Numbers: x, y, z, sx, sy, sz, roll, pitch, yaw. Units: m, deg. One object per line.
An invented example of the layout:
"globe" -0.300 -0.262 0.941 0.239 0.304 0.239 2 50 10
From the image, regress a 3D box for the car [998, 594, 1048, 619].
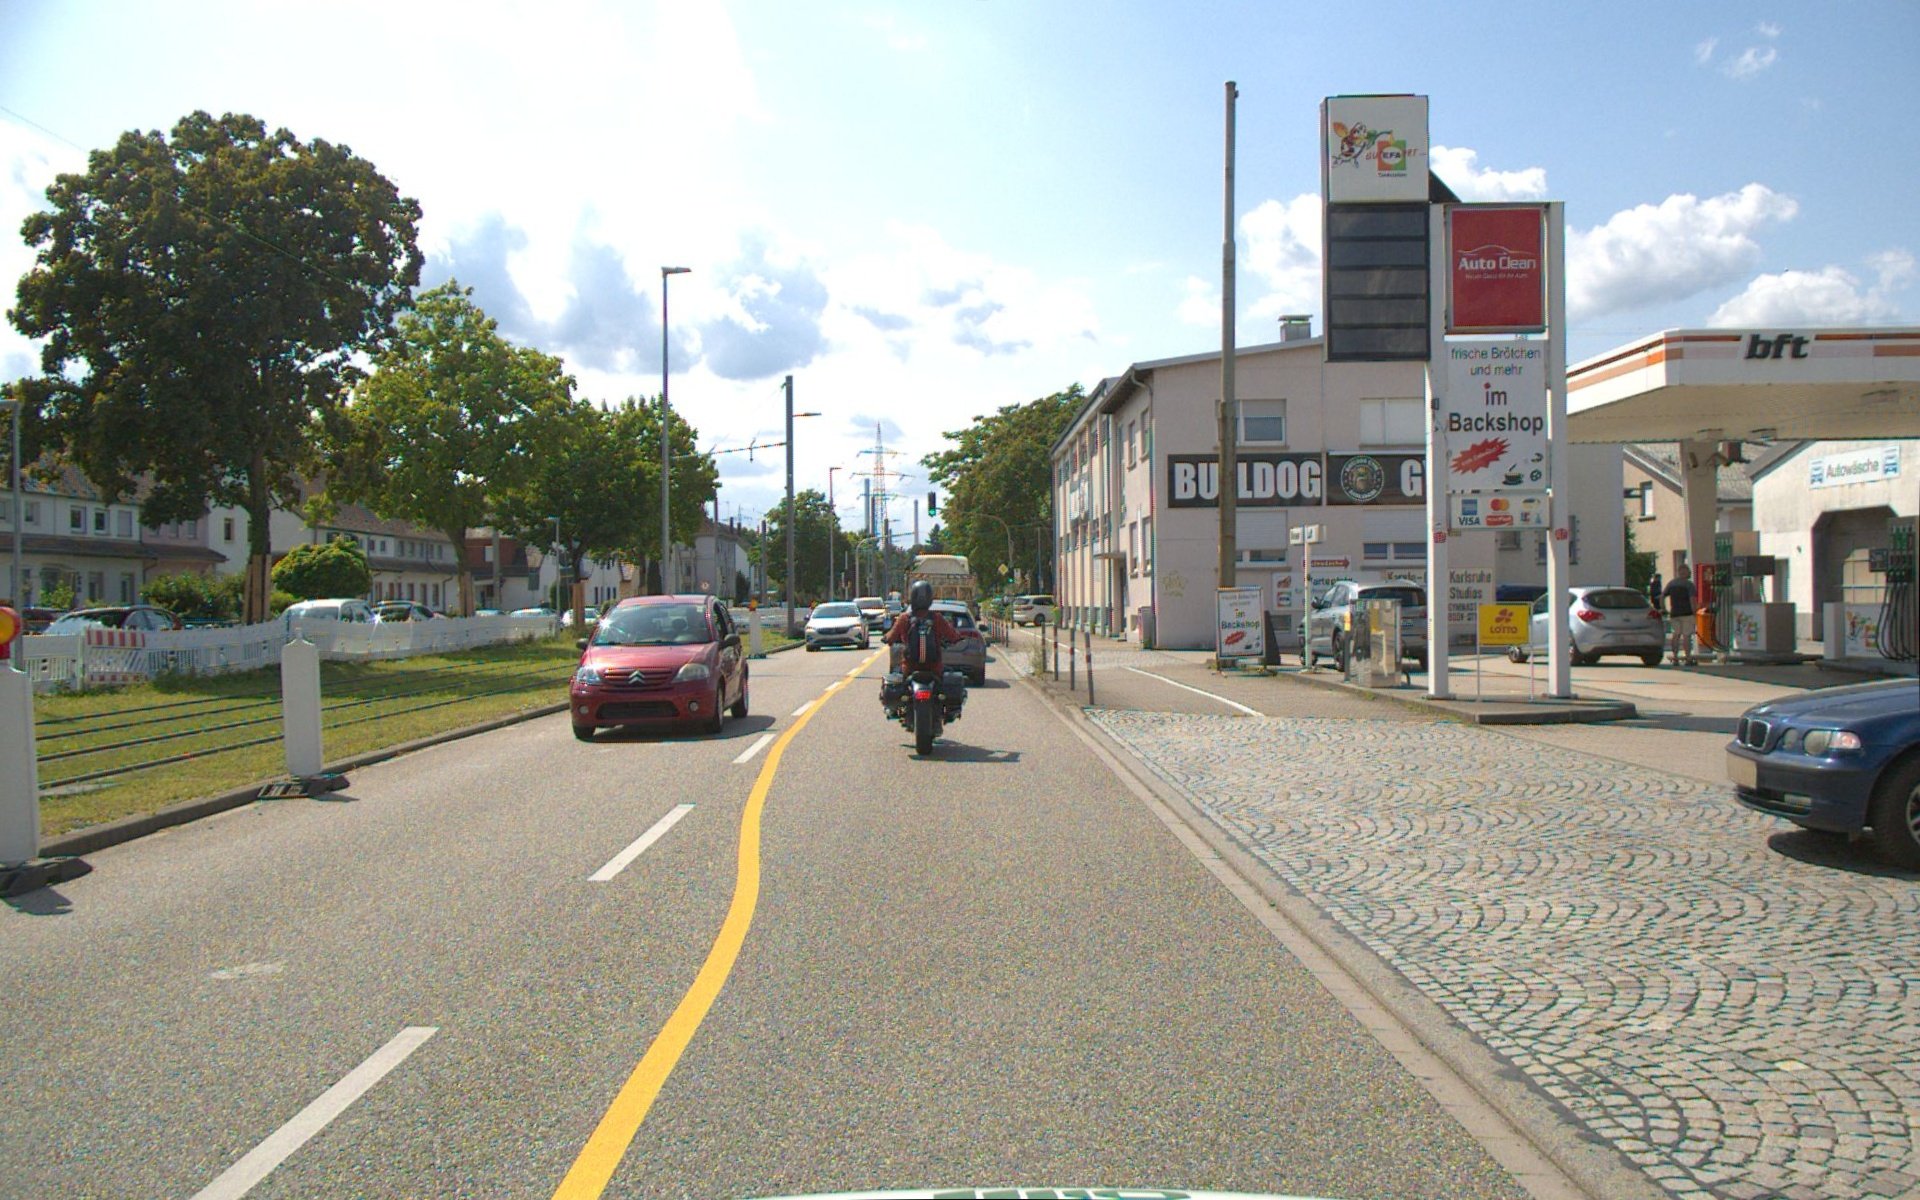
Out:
"car" 5.046 0.532 131.525 1.773 1.959 3.971 0 -1 44

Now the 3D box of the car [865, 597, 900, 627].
"car" -4.095 0.629 87.704 1.658 1.437 3.858 -4 -1 -1

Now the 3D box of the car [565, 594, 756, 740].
"car" -3.364 0.702 19.178 1.546 1.495 3.720 -1 0 -1

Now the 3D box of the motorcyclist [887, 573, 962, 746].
"motorcyclist" -0.338 0.570 16.109 0.684 1.632 0.692 1 -1 -1

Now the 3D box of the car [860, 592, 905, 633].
"car" -3.422 0.577 73.752 1.787 1.695 4.461 -2 -1 -1

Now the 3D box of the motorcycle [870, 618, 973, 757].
"motorcycle" -0.364 0.819 16.433 0.923 1.221 2.472 1 0 0

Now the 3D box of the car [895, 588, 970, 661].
"car" -0.691 0.598 43.733 1.862 1.742 4.719 -1 1 0

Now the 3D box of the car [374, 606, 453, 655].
"car" -16.321 0.903 49.545 1.322 1.401 3.114 -2 -1 -1

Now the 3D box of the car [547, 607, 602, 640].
"car" -16.614 1.005 71.397 1.490 1.378 3.620 1 -1 -1

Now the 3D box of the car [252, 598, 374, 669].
"car" -16.484 0.849 42.335 1.589 1.680 3.898 -2 -1 -1

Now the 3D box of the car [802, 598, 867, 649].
"car" -3.877 0.715 51.778 1.784 1.470 4.482 -2 -1 -2

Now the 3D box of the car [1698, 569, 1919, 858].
"car" 6.287 0.587 8.850 3.966 1.433 1.648 0 -1 7

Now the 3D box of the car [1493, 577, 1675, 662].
"car" 12.129 0.382 32.464 1.658 1.496 4.420 -2 -1 -3

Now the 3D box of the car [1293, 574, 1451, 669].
"car" 7.740 0.384 31.508 1.905 1.653 4.616 0 0 1

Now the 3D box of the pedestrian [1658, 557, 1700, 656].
"pedestrian" 13.318 0.129 30.653 0.486 1.808 0.577 1 -1 -3

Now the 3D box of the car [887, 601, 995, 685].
"car" -0.413 0.758 31.007 1.697 1.428 4.082 1 0 -5

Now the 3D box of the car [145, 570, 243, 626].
"car" -29.845 -0.056 64.556 1.953 2.049 3.999 1 -1 -1

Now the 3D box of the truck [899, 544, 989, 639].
"truck" -0.478 -0.250 60.551 2.906 3.229 7.765 1 -1 2
